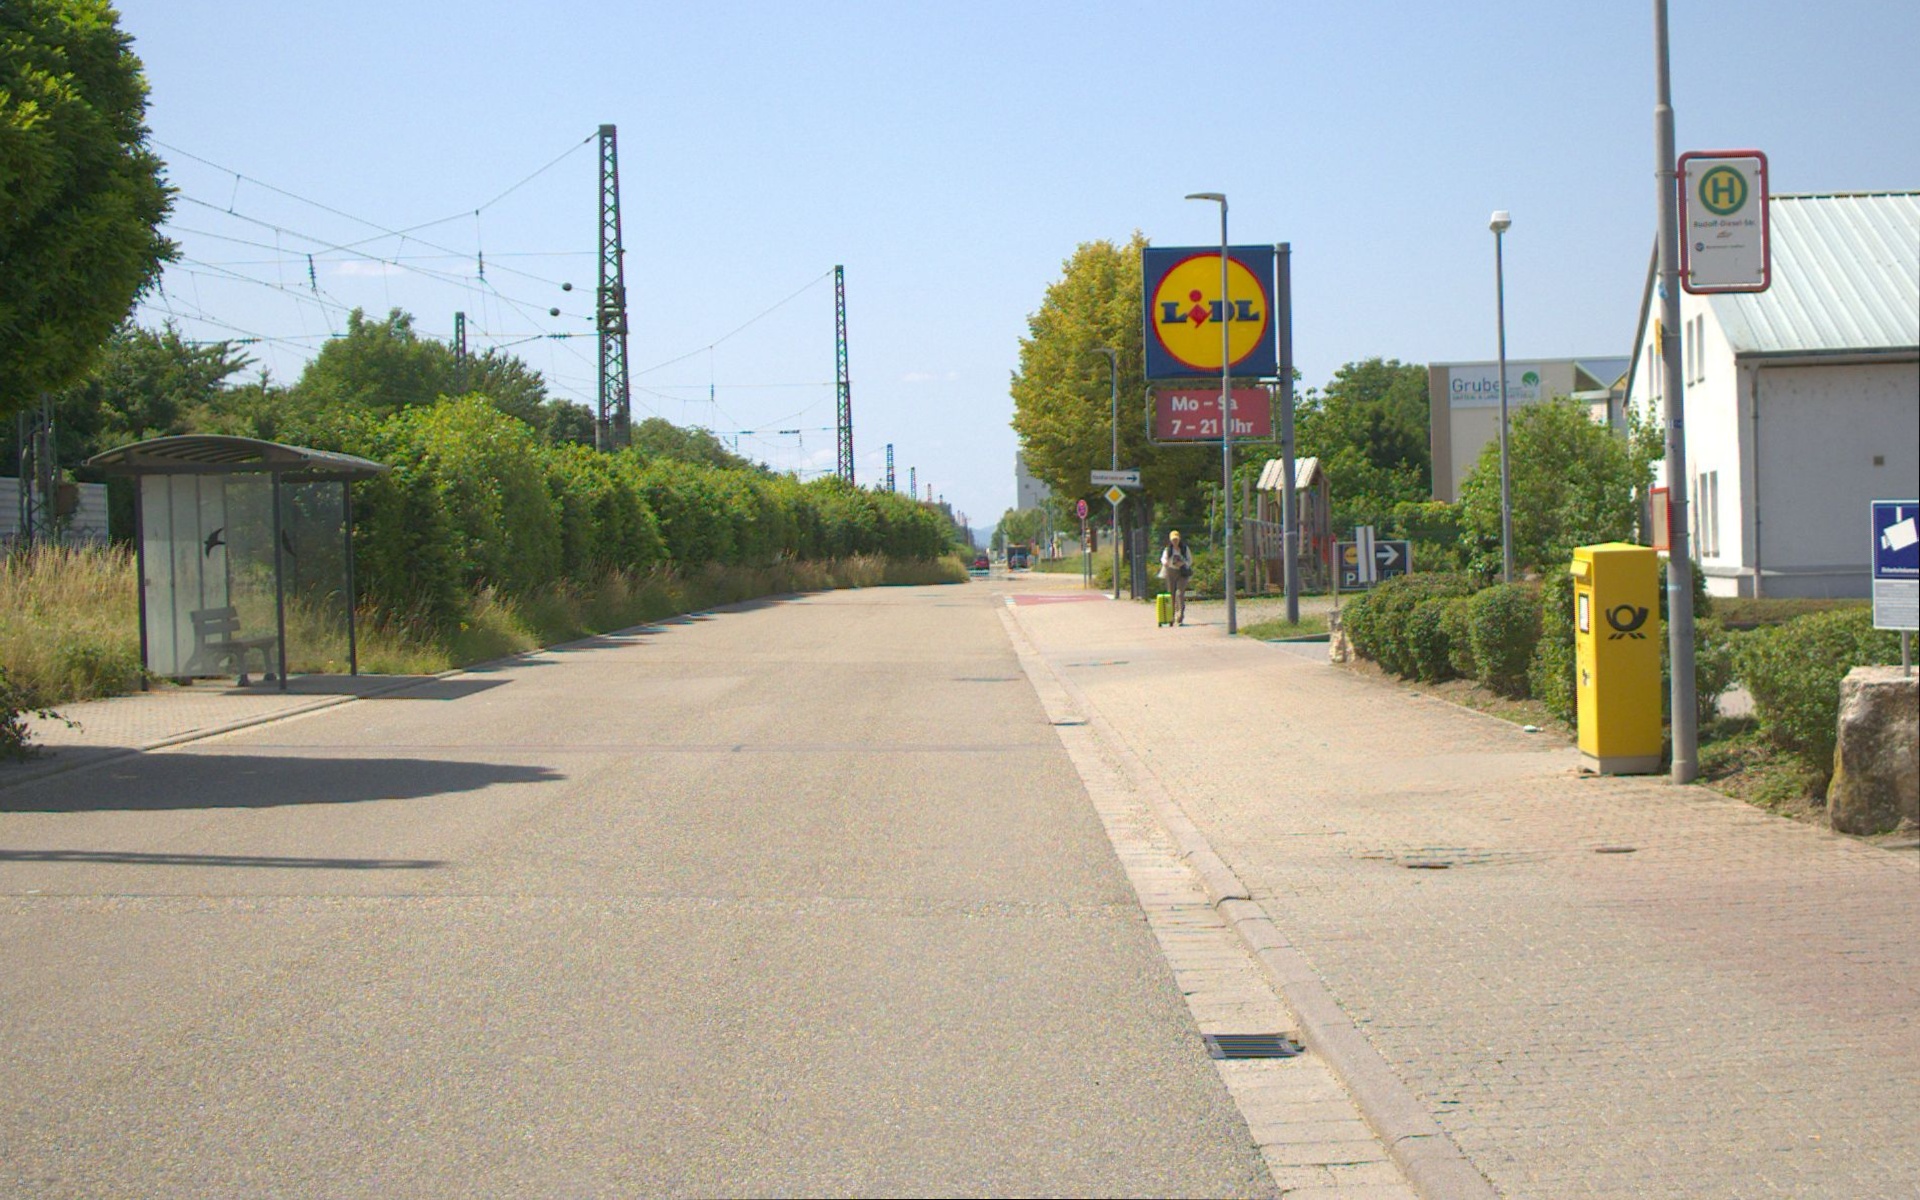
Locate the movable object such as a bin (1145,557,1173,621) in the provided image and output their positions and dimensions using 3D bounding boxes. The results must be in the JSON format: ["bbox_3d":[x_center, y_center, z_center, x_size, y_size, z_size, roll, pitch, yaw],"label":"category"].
[{"bbox_3d":[3.279,-0.181,56.649,0.374,1.026,0.499,-2,1,-4],"label":"movable object such as a bin"}]

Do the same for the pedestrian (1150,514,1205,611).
[{"bbox_3d":[3.608,-0.630,57.197,0.761,1.596,1.210,-1,1,-3],"label":"pedestrian"}]
